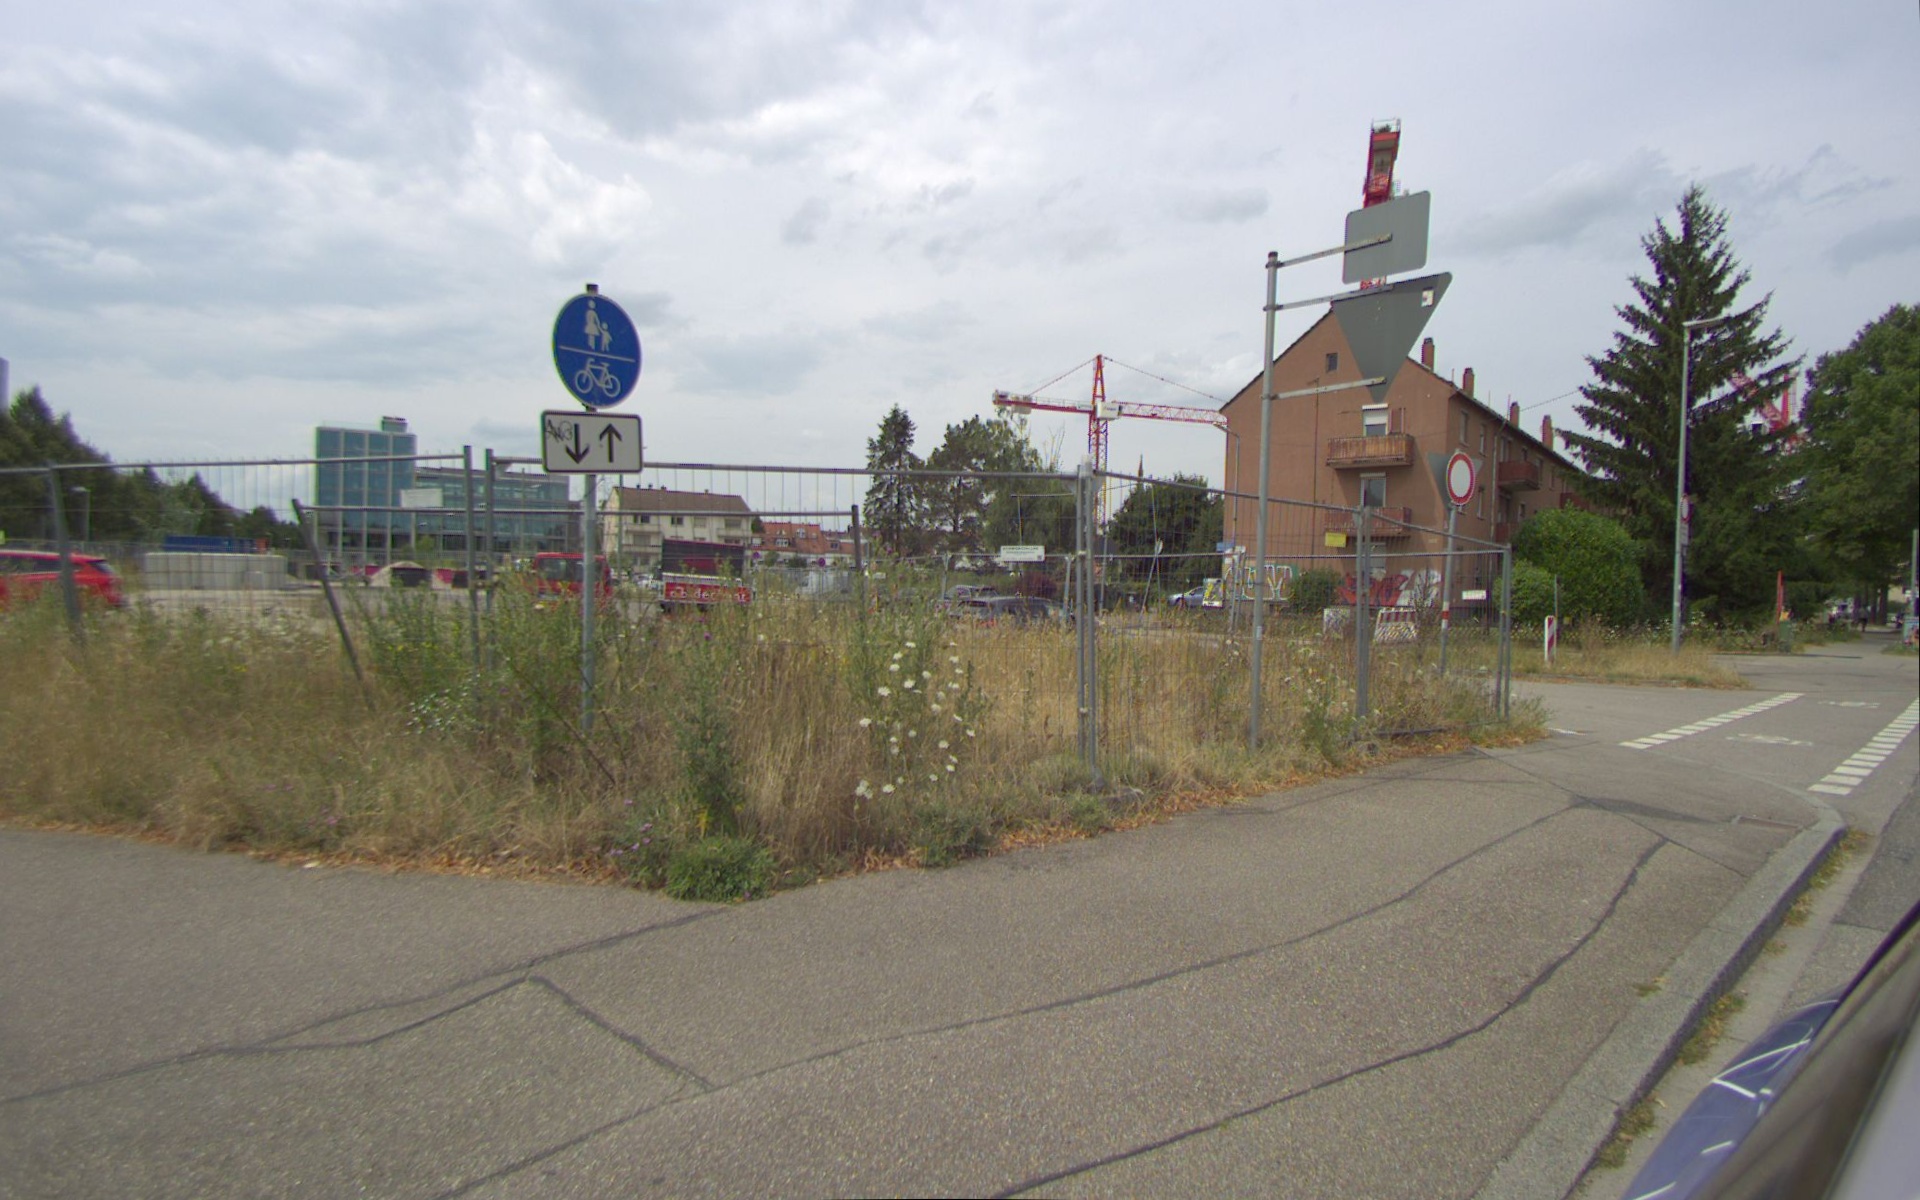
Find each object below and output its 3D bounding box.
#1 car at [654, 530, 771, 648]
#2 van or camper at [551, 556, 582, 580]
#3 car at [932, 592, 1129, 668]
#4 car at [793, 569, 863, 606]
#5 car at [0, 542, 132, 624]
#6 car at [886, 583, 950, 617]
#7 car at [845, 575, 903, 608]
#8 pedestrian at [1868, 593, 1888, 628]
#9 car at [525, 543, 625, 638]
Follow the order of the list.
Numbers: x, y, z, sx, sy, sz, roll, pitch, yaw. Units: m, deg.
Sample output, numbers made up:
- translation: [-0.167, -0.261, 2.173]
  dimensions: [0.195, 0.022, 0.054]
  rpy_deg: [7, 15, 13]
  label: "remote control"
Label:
- translation: [-6.132, -0.288, 24.409]
  dimensions: [2.269, 2.442, 6.557]
  rpy_deg: [1, 1, -18]
  label: "car"
- translation: [-46.369, -3.746, 119.148]
  dimensions: [2.307, 2.721, 5.247]
  rpy_deg: [1, 1, -34]
  label: "van or camper"
- translation: [1.598, 0.605, 22.320]
  dimensions: [4.179, 1.492, 1.767]
  rpy_deg: [1, 1, -37]
  label: "car"
- translation: [-8.134, -0.797, 62.084]
  dimensions: [2.107, 2.163, 4.909]
  rpy_deg: [1, 1, -36]
  label: "car"
- translation: [-19.912, -0.365, 20.264]
  dimensions: [5.043, 1.624, 1.789]
  rpy_deg: [1, 1, -37]
  label: "car"
- translation: [-2.242, -0.015, 53.048]
  dimensions: [1.765, 1.622, 4.020]
  rpy_deg: [1, 1, -28]
  label: "car"
- translation: [-4.912, -0.491, 57.400]
  dimensions: [1.820, 1.771, 4.019]
  rpy_deg: [1, 1, -29]
  label: "car"
- translation: [55.210, 0.615, 60.875]
  dimensions: [0.853, 2.039, 0.720]
  rpy_deg: [2, 0, 44]
  label: "pedestrian"
- translation: [-9.046, -0.242, 24.068]
  dimensions: [1.896, 1.934, 4.999]
  rpy_deg: [4, 0, -19]
  label: "car"
